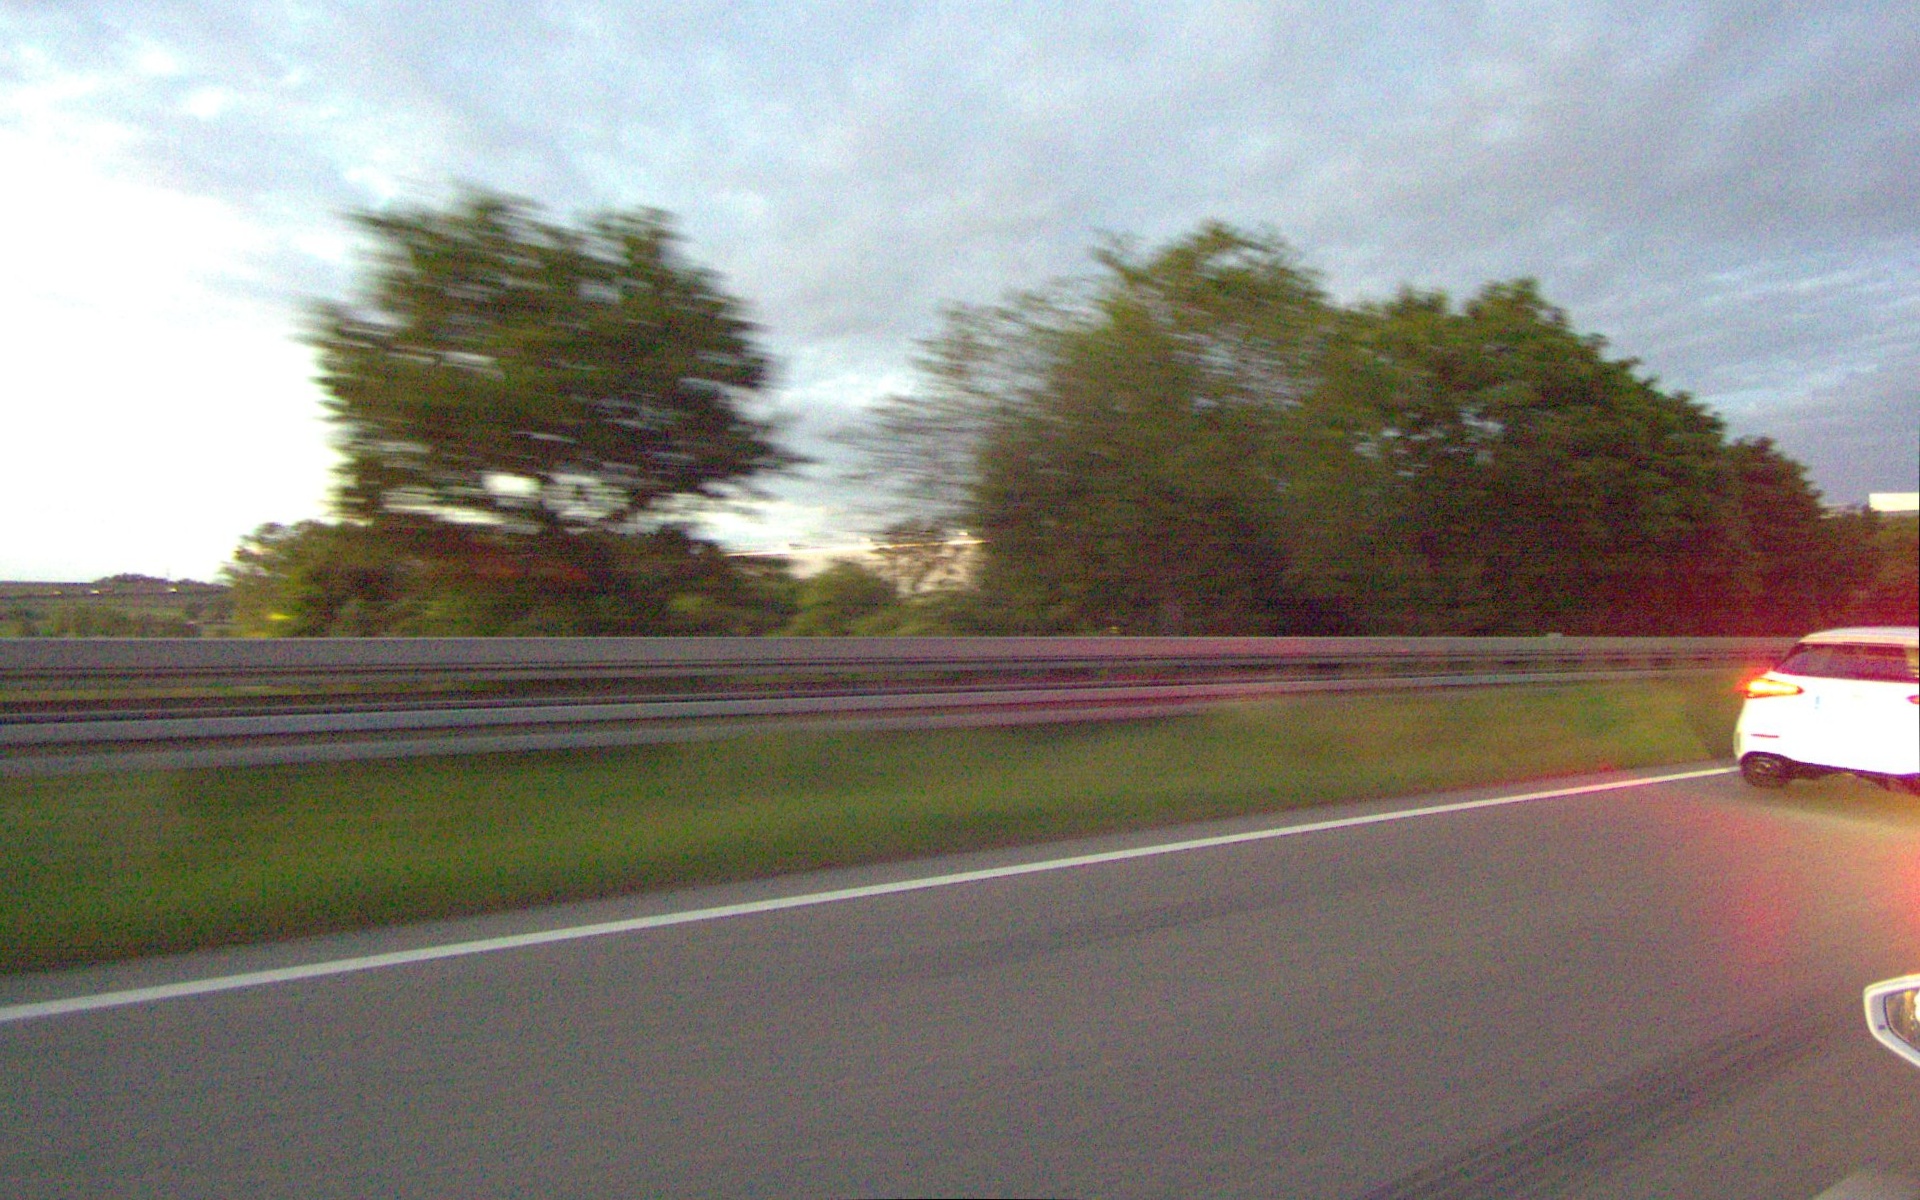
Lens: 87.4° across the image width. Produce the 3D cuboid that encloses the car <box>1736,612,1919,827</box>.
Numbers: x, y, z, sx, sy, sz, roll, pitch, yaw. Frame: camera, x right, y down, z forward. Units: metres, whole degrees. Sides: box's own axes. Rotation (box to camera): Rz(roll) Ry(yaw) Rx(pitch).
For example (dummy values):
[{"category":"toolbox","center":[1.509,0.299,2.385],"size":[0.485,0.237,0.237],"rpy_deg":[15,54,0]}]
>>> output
[{"category":"car","center":[8.644,0.918,8.605],"size":[4.527,1.510,1.633],"rpy_deg":[2,0,-31]}]
